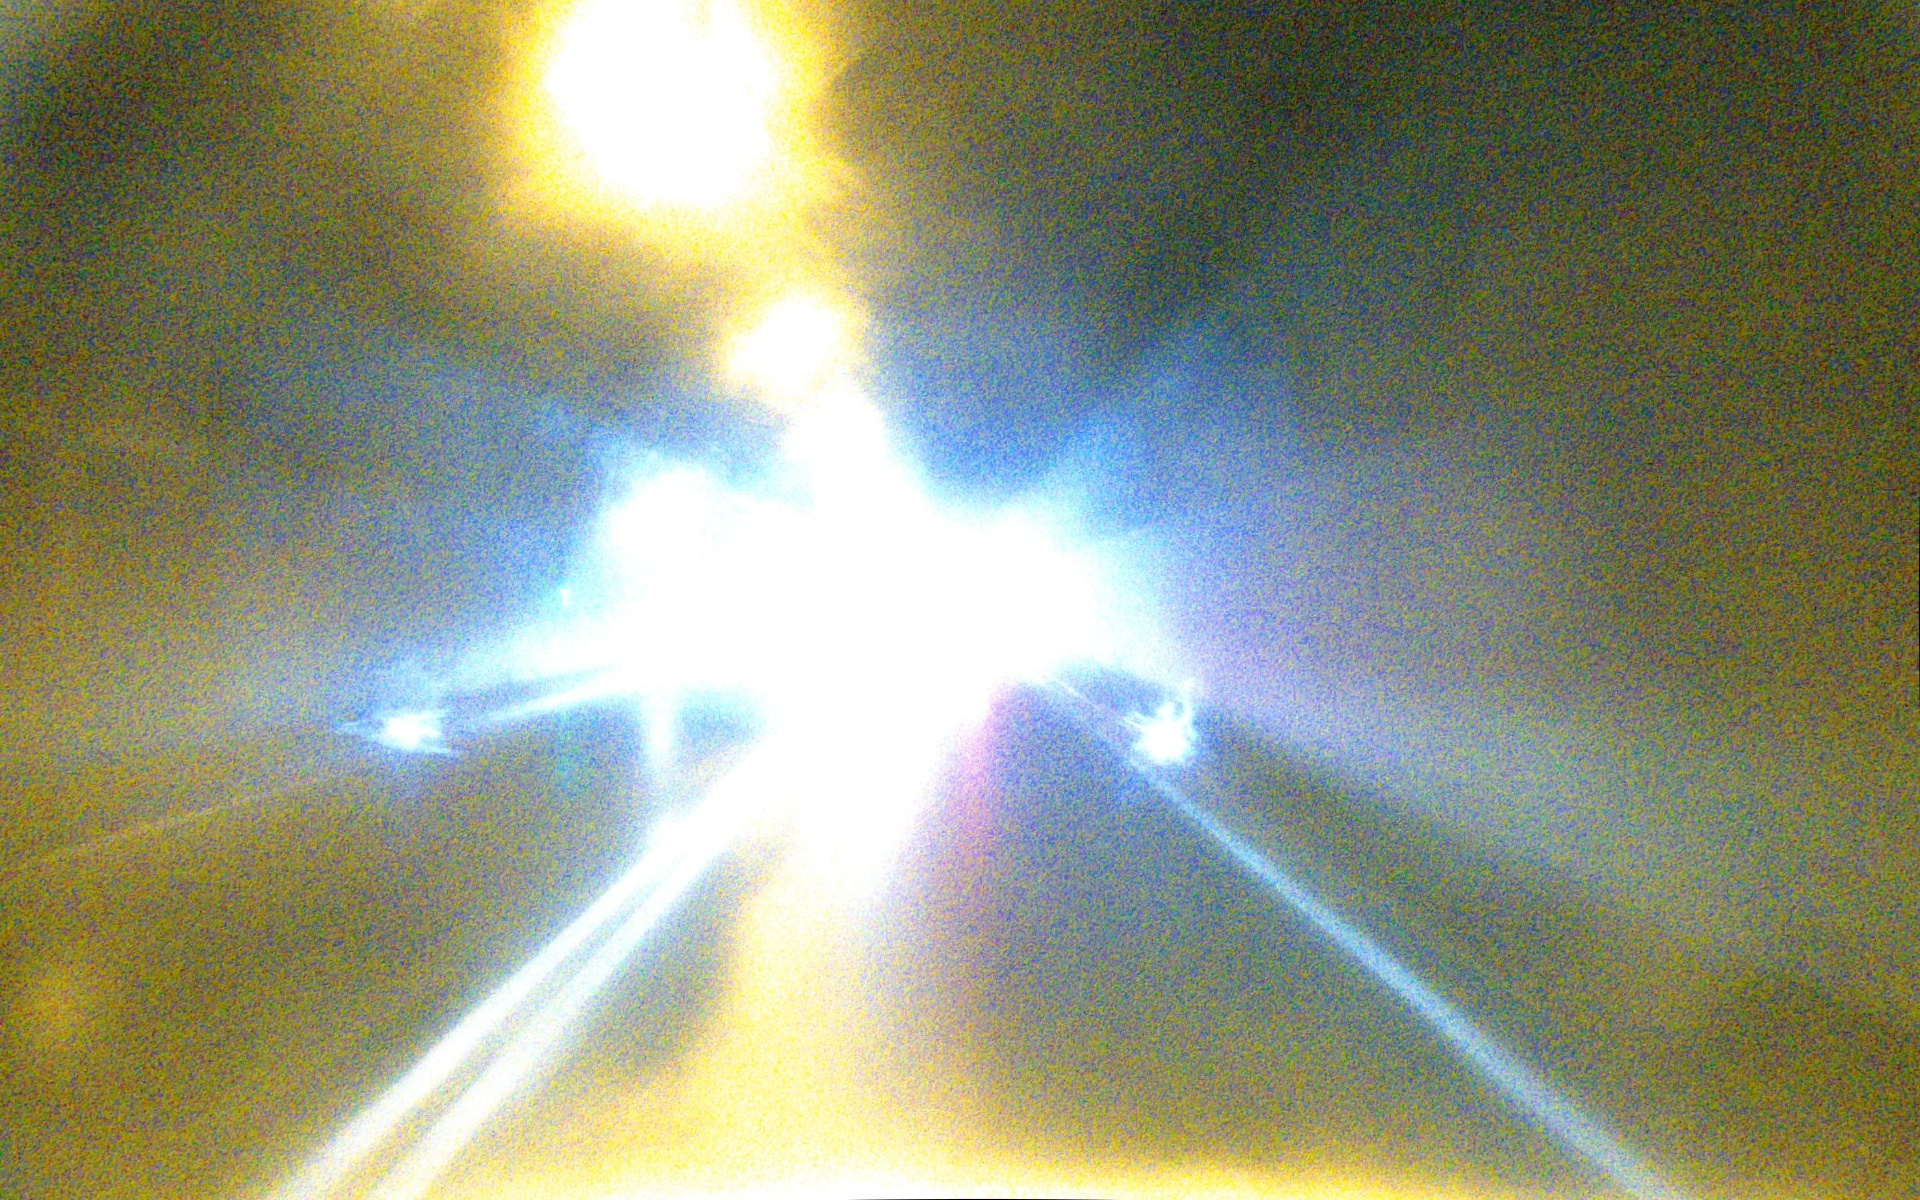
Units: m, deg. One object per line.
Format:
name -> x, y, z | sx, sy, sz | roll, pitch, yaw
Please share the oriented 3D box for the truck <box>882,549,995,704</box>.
truck -> -0.482, 0.550, 36.798 | 2.216, 3.064, 7.413 | 1, 0, -1
